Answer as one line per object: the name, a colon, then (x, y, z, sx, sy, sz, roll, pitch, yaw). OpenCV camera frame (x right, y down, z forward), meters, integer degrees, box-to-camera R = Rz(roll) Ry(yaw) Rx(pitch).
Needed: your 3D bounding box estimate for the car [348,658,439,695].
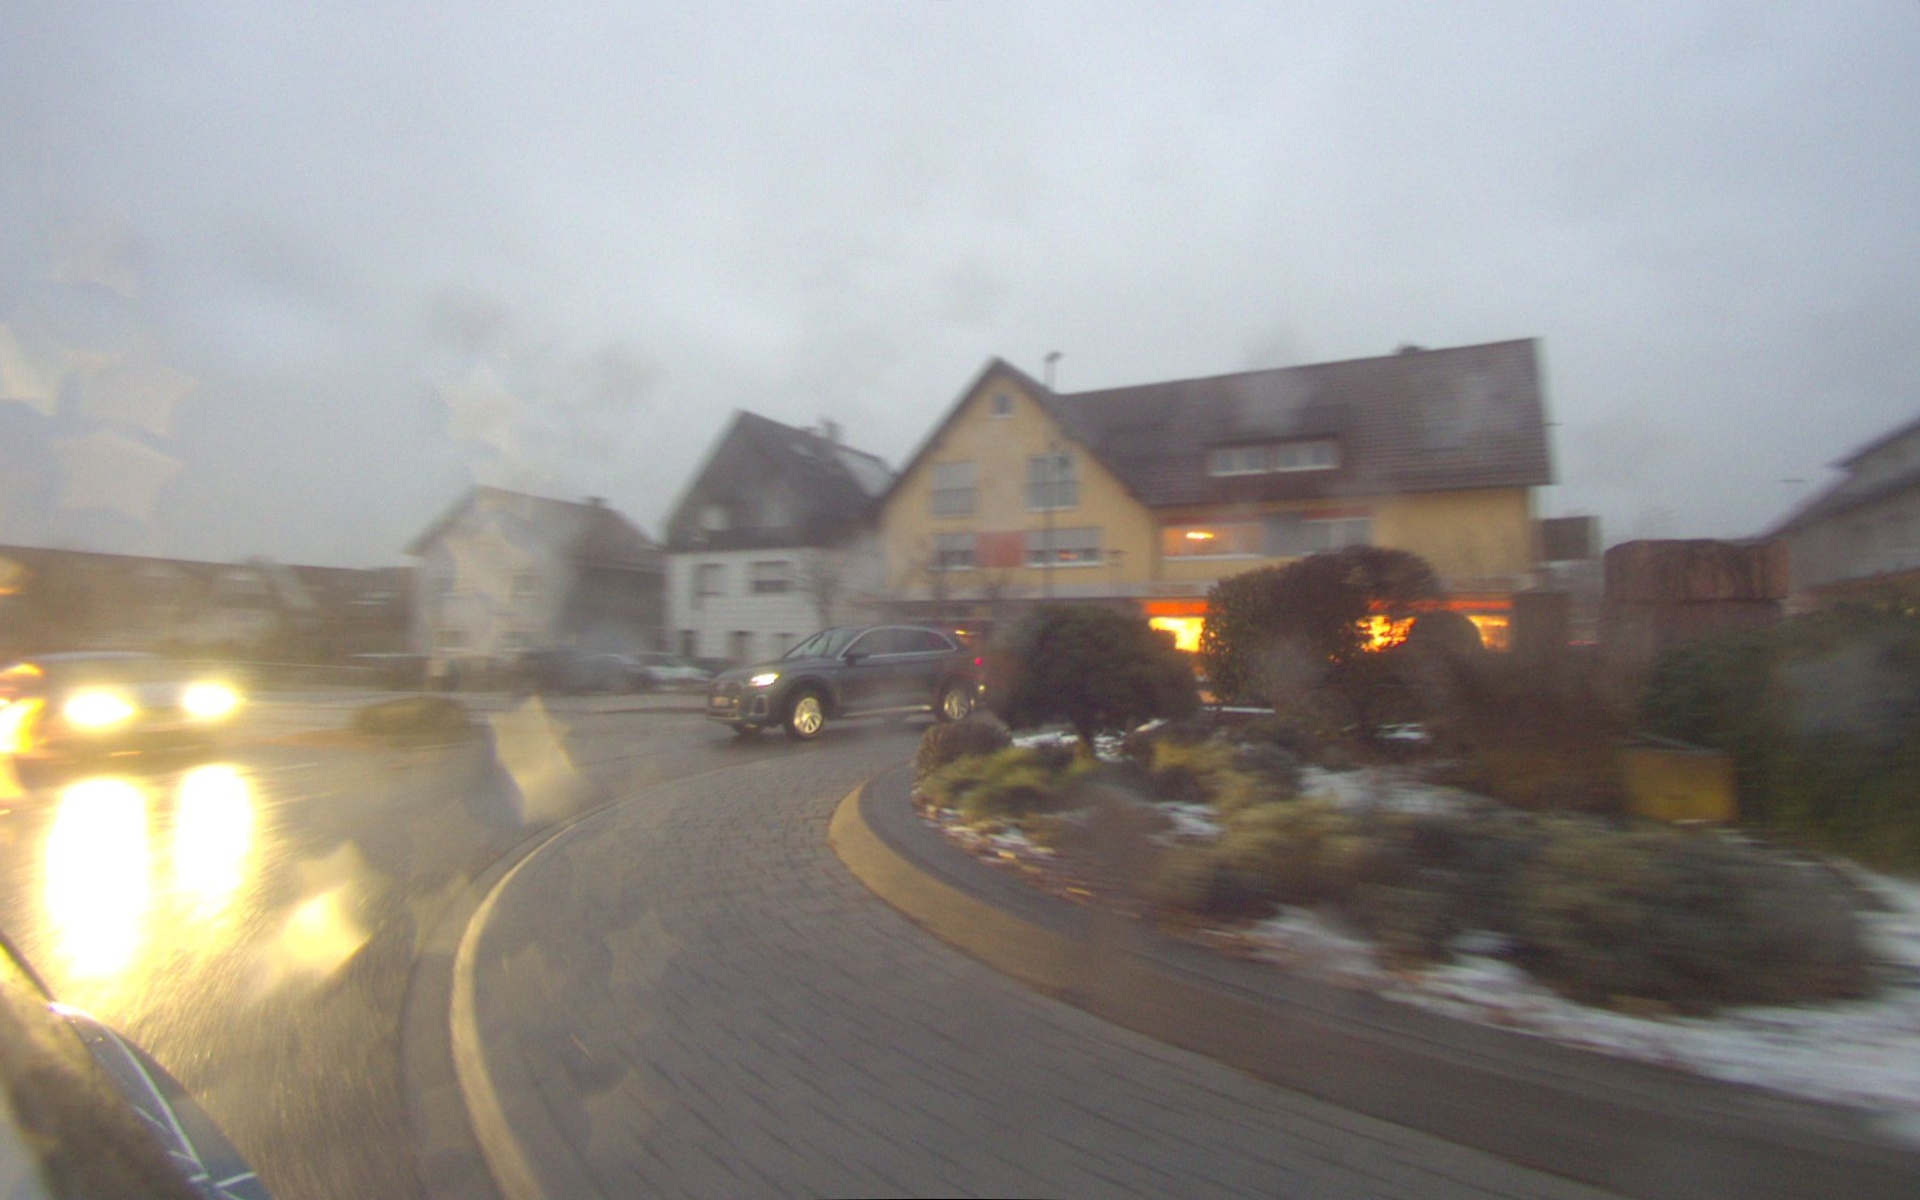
car: (-27.381, 3.688, 48.951, 3.929, 1.673, 1.693, -2, -3, 20)

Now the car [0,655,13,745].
car: (-19.704, 1.874, 19.078, 3.985, 1.636, 1.665, -2, -2, 31)

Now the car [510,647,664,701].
car: (-11.262, 2.225, 30.815, 4.113, 1.543, 1.918, 0, -3, -10)

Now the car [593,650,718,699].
car: (-10.769, 2.668, 36.013, 3.942, 1.644, 1.765, 0, -5, -2)

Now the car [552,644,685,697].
car: (-11.147, 2.332, 33.256, 3.837, 1.683, 1.842, 0, -5, -6)

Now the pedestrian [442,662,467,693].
pedestrian: (-20.733, 3.170, 41.483, 0.599, 1.259, 0.687, -2, -3, 24)

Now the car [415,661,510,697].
car: (-23.206, 3.647, 47.209, 4.066, 1.581, 1.767, -2, -3, 23)

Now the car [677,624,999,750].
car: (-1.787, 1.230, 15.625, 4.557, 1.605, 1.958, 0, -3, -38)

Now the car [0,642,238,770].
car: (-12.457, 1.463, 14.735, 3.988, 1.591, 1.868, -3, -3, 33)

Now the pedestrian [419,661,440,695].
pedestrian: (-20.922, 3.063, 39.927, 0.593, 1.312, 0.512, -1, -3, -9)

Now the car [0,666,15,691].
car: (-58.633, 4.651, 60.048, 4.218, 1.480, 1.791, -1, -4, 16)

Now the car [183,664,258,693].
car: (-39.317, 4.169, 53.814, 3.475, 1.520, 1.470, -2, -4, 19)
